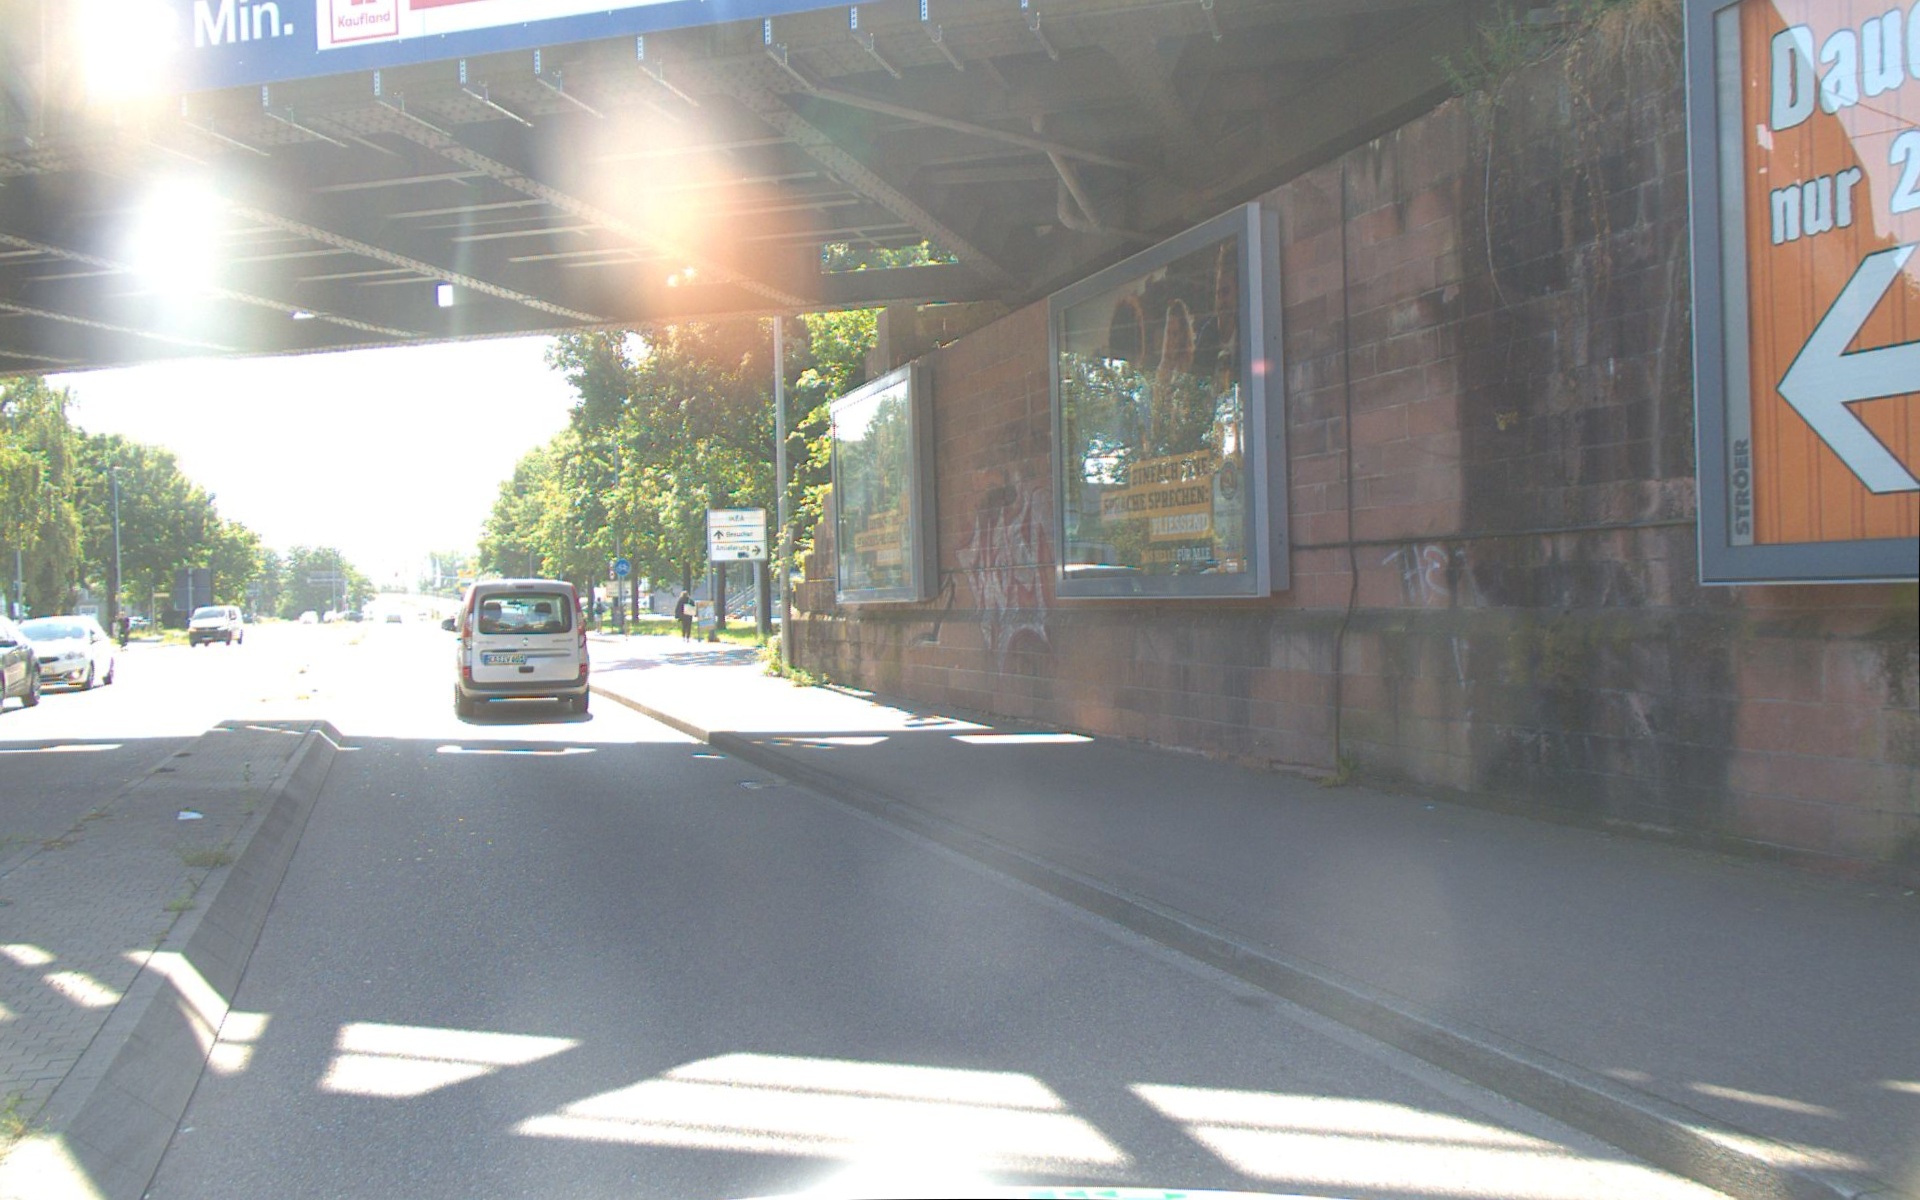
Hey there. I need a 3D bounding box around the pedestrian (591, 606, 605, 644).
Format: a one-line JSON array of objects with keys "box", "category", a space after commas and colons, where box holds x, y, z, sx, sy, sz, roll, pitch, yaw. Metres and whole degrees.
[{"box": [-18.243, 1.246, 83.330, 0.527, 1.874, 0.724, -2, 0, -19], "category": "pedestrian"}]

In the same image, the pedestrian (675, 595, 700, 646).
[{"box": [-8.910, 0.655, 54.027, 0.637, 1.631, 0.842, -2, 0, -18], "category": "pedestrian"}]

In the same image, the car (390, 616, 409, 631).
[{"box": [-65.464, 2.731, 193.288, 1.963, 1.713, 3.979, -2, 0, -18], "category": "car"}]

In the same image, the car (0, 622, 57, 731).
[{"box": [-15.857, 1.229, 26.382, 1.742, 1.520, 4.156, -3, 2, -18], "category": "car"}]

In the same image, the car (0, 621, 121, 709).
[{"box": [-18.519, 1.284, 34.070, 1.618, 1.520, 3.807, -3, 2, -19], "category": "car"}]

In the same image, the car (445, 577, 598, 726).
[{"box": [-6.349, 0.681, 23.652, 1.876, 1.861, 4.159, -2, 0, -18], "category": "car"}]

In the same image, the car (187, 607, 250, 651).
[{"box": [-37.789, 1.446, 84.425, 1.960, 2.048, 5.326, -2, 0, -14], "category": "car"}]
